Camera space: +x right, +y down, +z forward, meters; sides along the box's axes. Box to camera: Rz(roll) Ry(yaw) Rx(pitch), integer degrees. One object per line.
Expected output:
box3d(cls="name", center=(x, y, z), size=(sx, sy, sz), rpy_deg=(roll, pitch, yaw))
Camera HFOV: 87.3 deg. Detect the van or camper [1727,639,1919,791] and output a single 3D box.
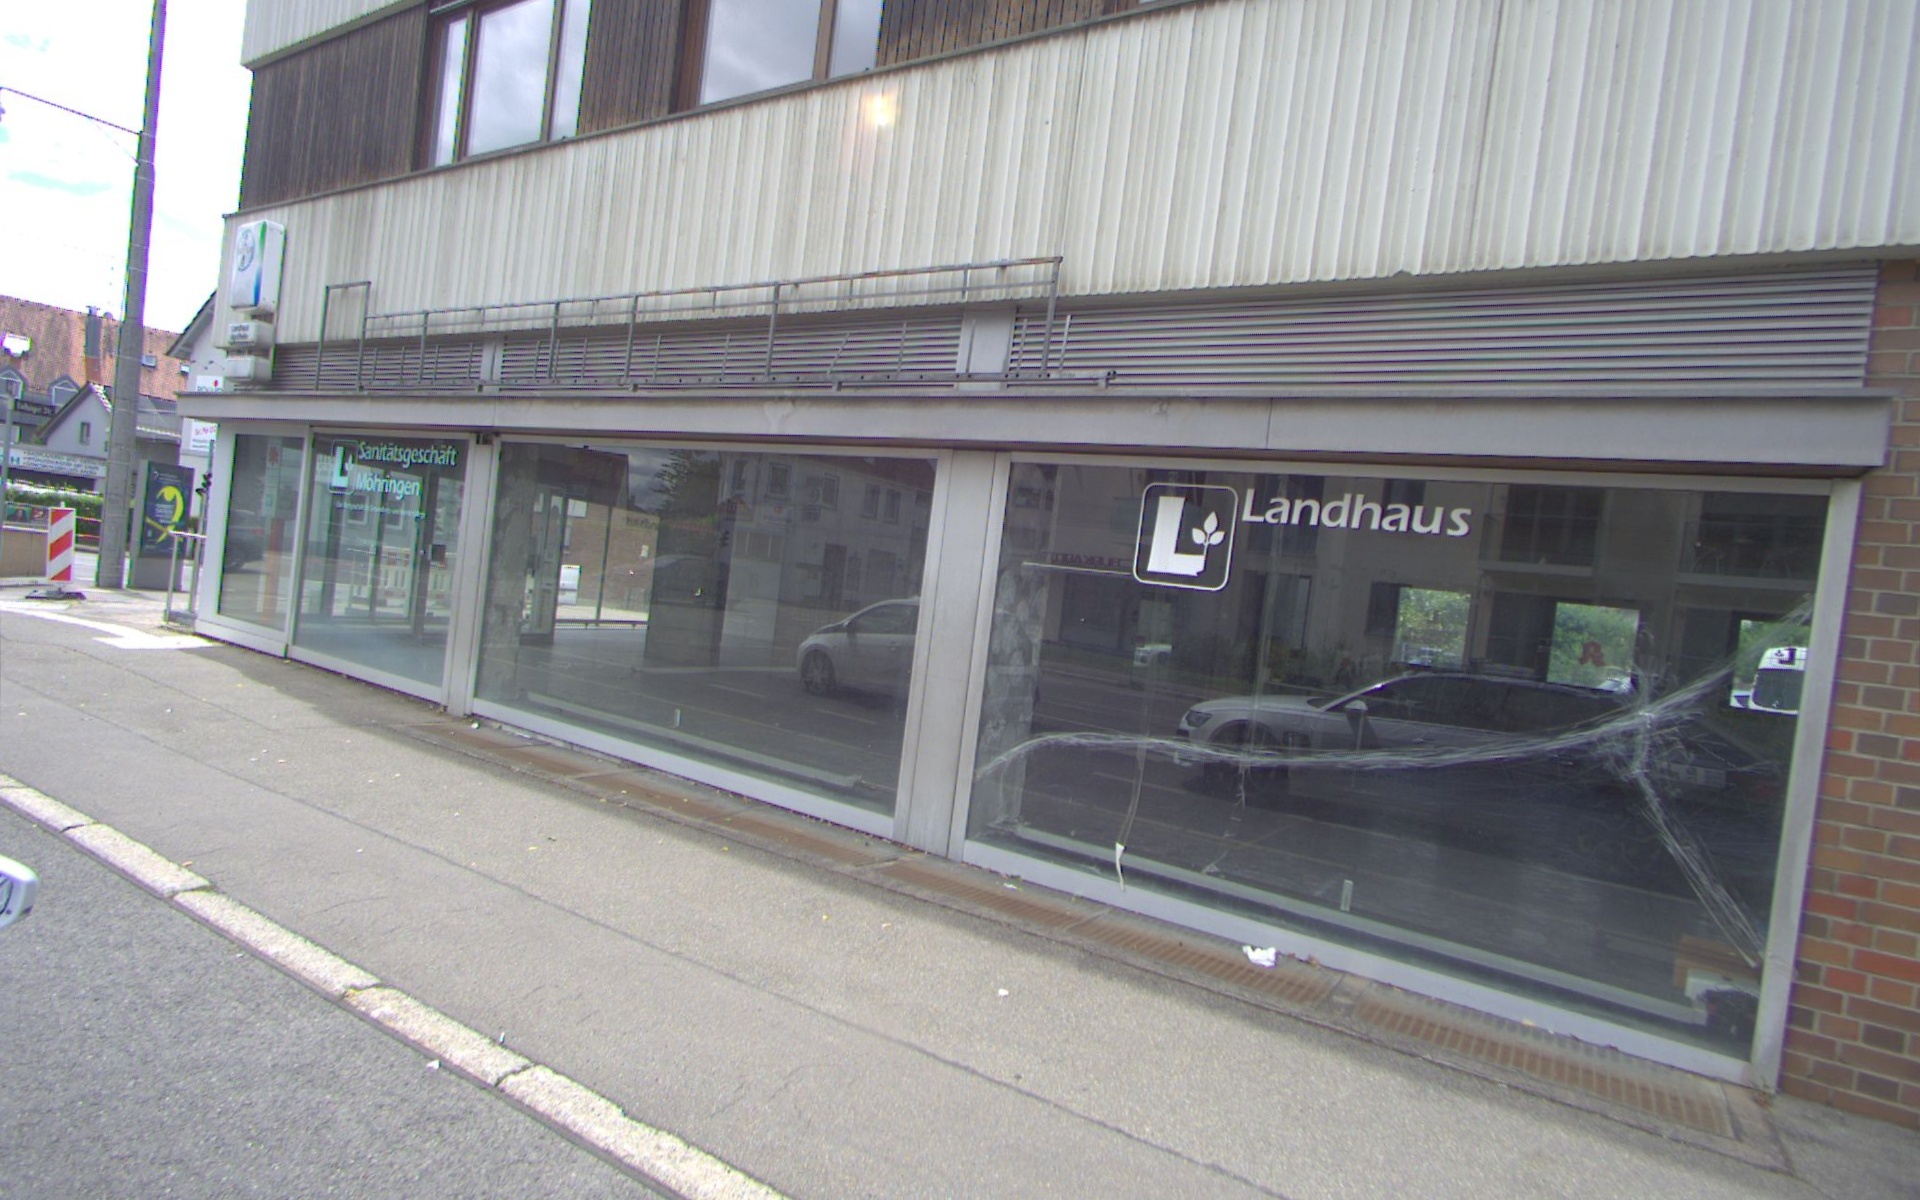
box3d(cls="van or camper", center=(18.984, 2.419, 20.051), size=(5.409, 2.574, 2.058), rpy_deg=(7, 1, 4))
